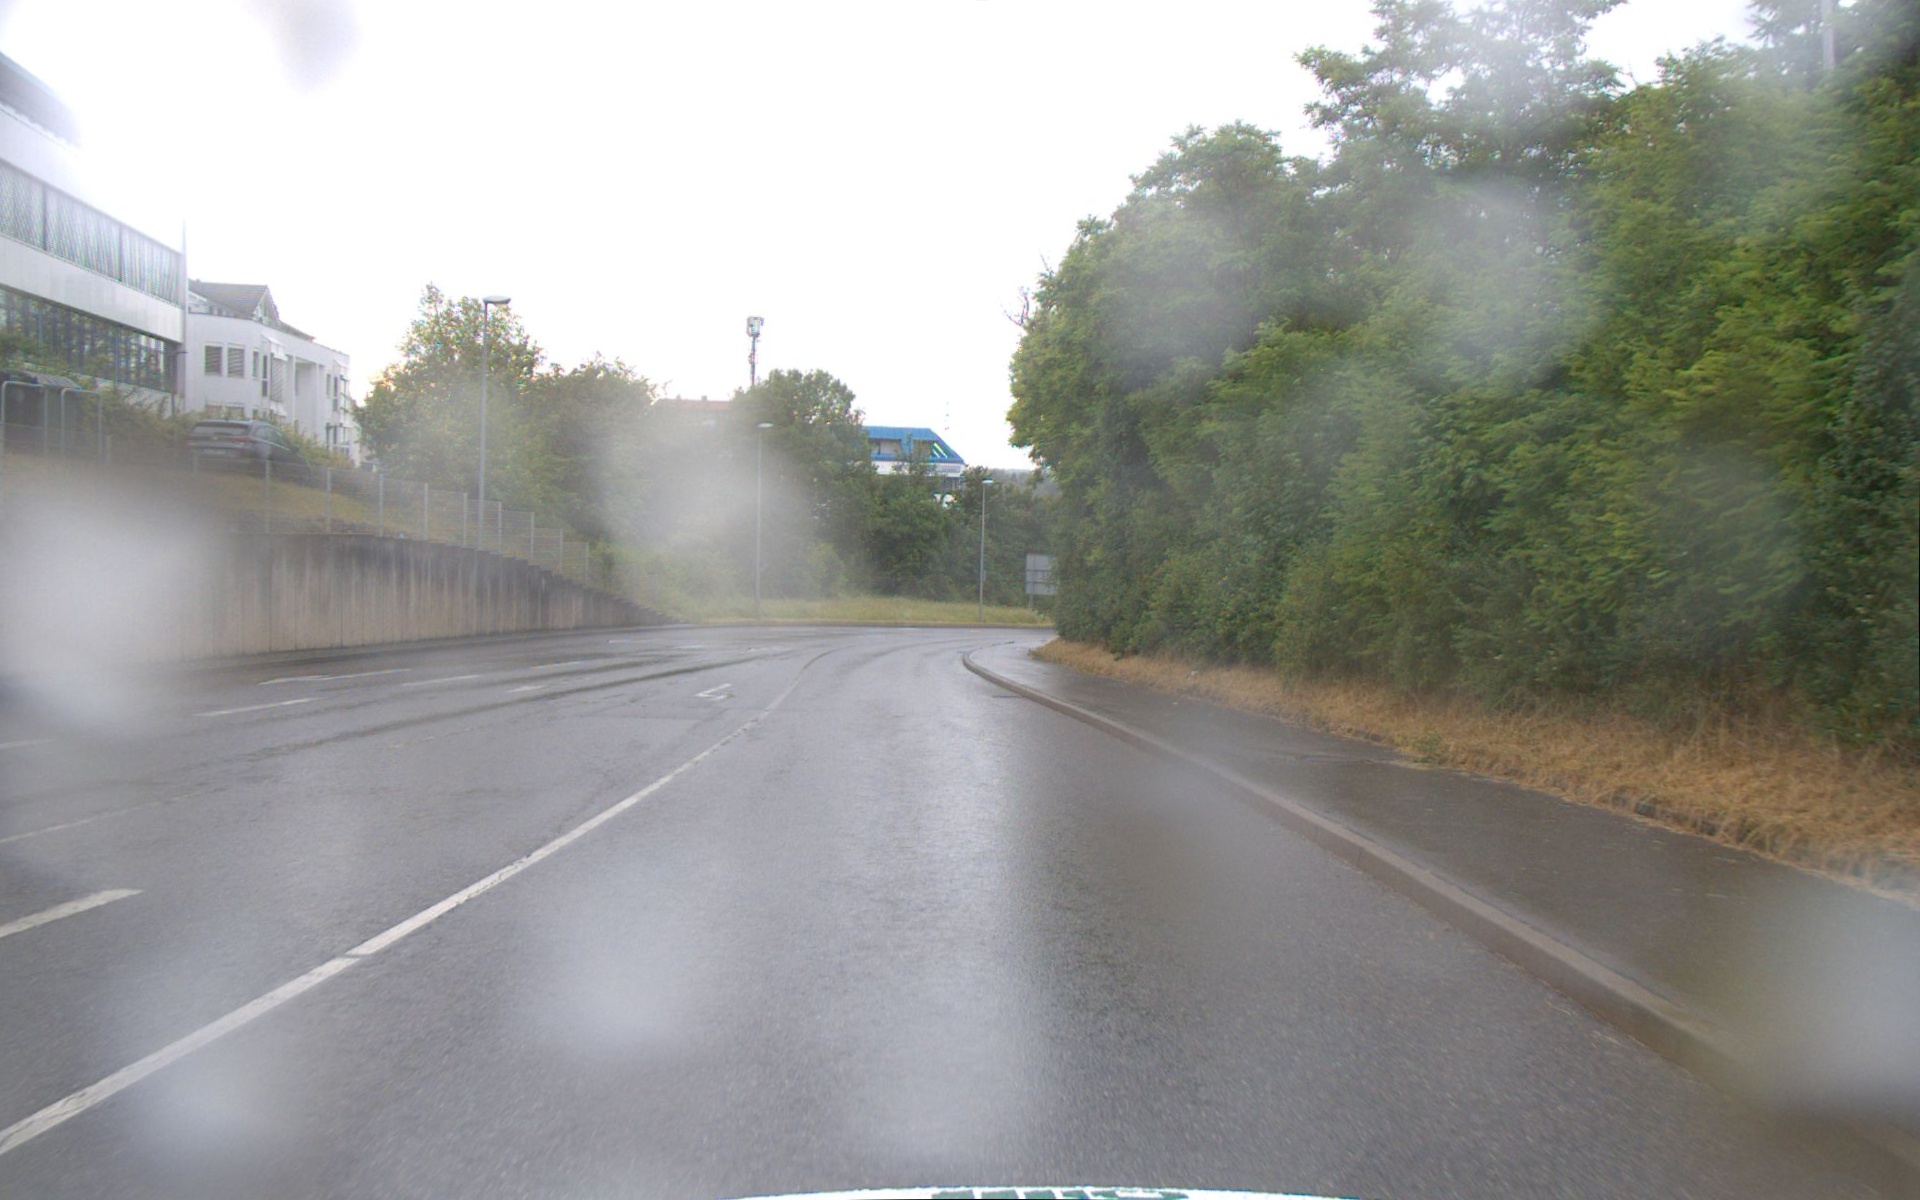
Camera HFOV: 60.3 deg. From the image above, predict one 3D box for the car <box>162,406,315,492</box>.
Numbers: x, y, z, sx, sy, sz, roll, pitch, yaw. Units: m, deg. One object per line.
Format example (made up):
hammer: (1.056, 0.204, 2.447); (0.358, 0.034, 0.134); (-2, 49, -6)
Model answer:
car: (-15.880, -3.281, 36.634); (1.791, 1.467, 3.997); (3, 0, -4)

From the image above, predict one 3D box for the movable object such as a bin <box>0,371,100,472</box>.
movable object such as a bin: (-15.087, -2.919, 27.267); (1.062, 1.462, 1.445); (3, 0, -4)

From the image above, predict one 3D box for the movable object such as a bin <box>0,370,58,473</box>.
movable object such as a bin: (-15.006, -2.784, 25.794); (1.062, 1.462, 1.445); (3, 0, -4)
